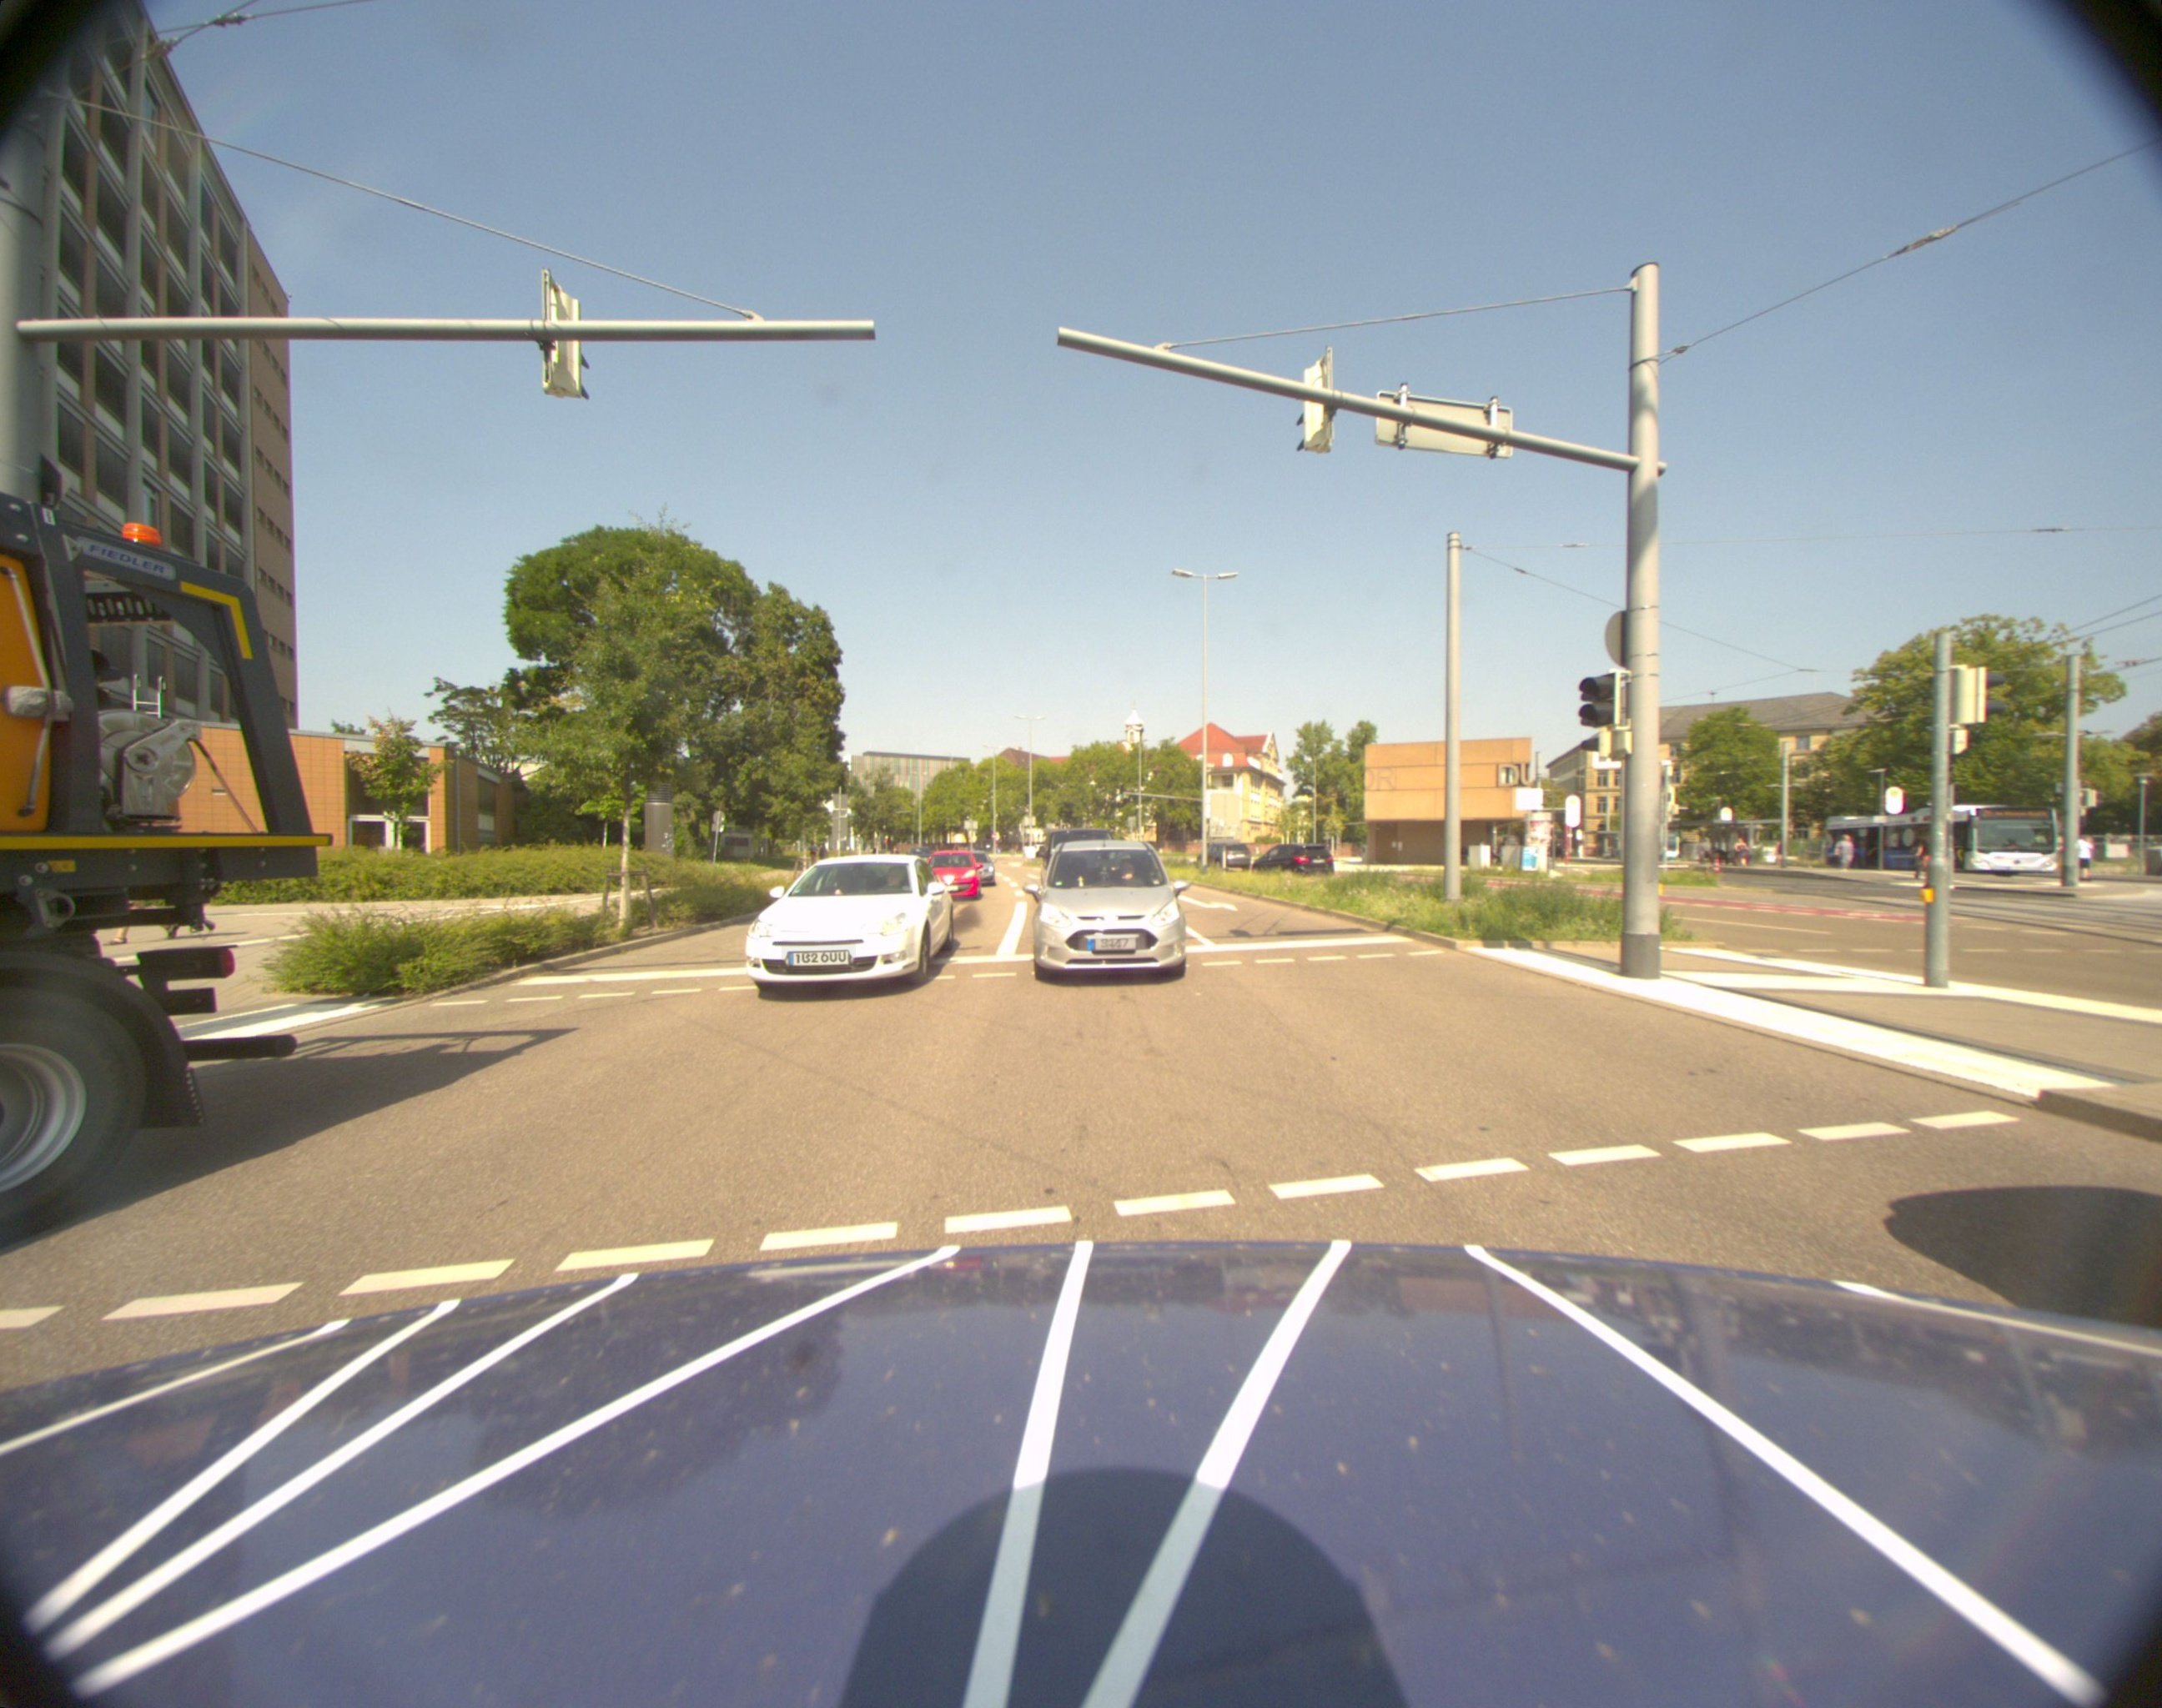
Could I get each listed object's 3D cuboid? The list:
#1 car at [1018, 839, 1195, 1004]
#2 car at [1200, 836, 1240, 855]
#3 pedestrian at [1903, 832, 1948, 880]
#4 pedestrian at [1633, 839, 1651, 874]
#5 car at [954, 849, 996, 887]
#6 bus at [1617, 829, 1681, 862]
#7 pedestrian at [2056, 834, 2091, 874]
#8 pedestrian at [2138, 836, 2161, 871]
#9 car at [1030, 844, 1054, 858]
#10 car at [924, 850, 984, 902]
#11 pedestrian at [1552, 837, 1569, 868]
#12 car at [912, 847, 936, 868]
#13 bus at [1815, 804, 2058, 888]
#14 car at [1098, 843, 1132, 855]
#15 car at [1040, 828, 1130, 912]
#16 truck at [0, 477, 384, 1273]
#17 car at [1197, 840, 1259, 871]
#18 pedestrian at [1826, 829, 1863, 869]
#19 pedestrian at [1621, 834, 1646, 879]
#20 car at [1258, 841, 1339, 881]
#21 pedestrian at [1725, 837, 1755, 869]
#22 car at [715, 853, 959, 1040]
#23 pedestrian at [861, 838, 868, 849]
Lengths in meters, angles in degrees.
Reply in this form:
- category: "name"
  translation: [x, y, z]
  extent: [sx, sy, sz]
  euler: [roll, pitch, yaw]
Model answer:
- category: "car"
  translation: [0.303, 0.623, 9.488]
  extent: [1.691, 1.586, 4.361]
  euler: [0, 1, 2]
- category: "car"
  translation: [15.119, -0.927, 82.748]
  extent: [4.007, 1.958, 1.995]
  euler: [-1, 1, -33]
- category: "pedestrian"
  translation: [32.136, 0.074, 28.929]
  extent: [0.960, 1.769, 0.784]
  euler: [1, 1, -18]
- category: "pedestrian"
  translation: [22.385, 0.102, 30.305]
  extent: [0.461, 1.367, 0.349]
  euler: [0, 1, -1]
- category: "car"
  translation: [-4.322, 0.526, 30.680]
  extent: [1.518, 1.331, 3.504]
  euler: [-2, 1, -10]
- category: "bus"
  translation: [58.170, -1.001, 78.148]
  extent: [2.536, 3.015, 12.452]
  euler: [-1, 2, 24]
- category: "pedestrian"
  translation: [39.028, 0.000, 29.880]
  extent: [0.576, 1.520, 0.601]
  euler: [1, 1, 23]
- category: "pedestrian"
  translation: [47.404, -0.009, 33.420]
  extent: [0.782, 1.539, 0.679]
  euler: [1, 2, 19]
- category: "car"
  translation: [-4.487, -0.375, 87.615]
  extent: [1.738, 1.629, 3.665]
  euler: [-1, 1, -20]
- category: "car"
  translation: [-3.723, 0.610, 22.722]
  extent: [1.517, 1.401, 3.356]
  euler: [-1, 1, -6]
- category: "pedestrian"
  translation: [26.464, -0.092, 41.928]
  extent: [0.571, 1.636, 0.511]
  euler: [-2, 2, -18]
- category: "car"
  translation: [-11.210, 0.237, 54.442]
  extent: [1.618, 1.415, 3.602]
  euler: [0, 1, -11]
- category: "bus"
  translation: [40.087, -0.446, 36.509]
  extent: [2.671, 3.312, 12.778]
  euler: [0, 1, 24]
- category: "car"
  translation: [2.980, -0.494, 67.701]
  extent: [1.850, 1.020, 4.326]
  euler: [-1, 1, -15]
- category: "car"
  translation: [-0.039, 0.333, 19.994]
  extent: [1.900, 1.920, 4.882]
  euler: [0, 1, -5]
- category: "truck"
  translation: [-5.822, 0.126, 1.079]
  extent: [3.040, 3.210, 7.189]
  euler: [-2, 1, -2]
- category: "car"
  translation: [8.345, 0.044, 43.591]
  extent: [1.903, 1.643, 4.652]
  euler: [0, 1, -10]
- category: "pedestrian"
  translation: [34.579, -0.237, 34.404]
  extent: [0.960, 1.769, 0.784]
  euler: [1, 1, -18]
- category: "pedestrian"
  translation: [22.462, 0.085, 30.895]
  extent: [0.560, 1.805, 0.560]
  euler: [0, 1, -1]
- category: "car"
  translation: [8.759, 0.252, 30.865]
  extent: [1.680, 1.511, 3.701]
  euler: [0, 1, -11]
- category: "pedestrian"
  translation: [37.806, -0.055, 43.584]
  extent: [0.786, 1.769, 0.958]
  euler: [1, 1, -14]
- category: "car"
  translation: [-2.671, 0.872, 9.508]
  extent: [1.771, 1.609, 4.600]
  euler: [-2, 1, -4]
- category: "pedestrian"
  translation: [-35.631, -1.754, 125.189]
  extent: [0.969, 1.775, 1.116]
  euler: [0, 1, -11]
